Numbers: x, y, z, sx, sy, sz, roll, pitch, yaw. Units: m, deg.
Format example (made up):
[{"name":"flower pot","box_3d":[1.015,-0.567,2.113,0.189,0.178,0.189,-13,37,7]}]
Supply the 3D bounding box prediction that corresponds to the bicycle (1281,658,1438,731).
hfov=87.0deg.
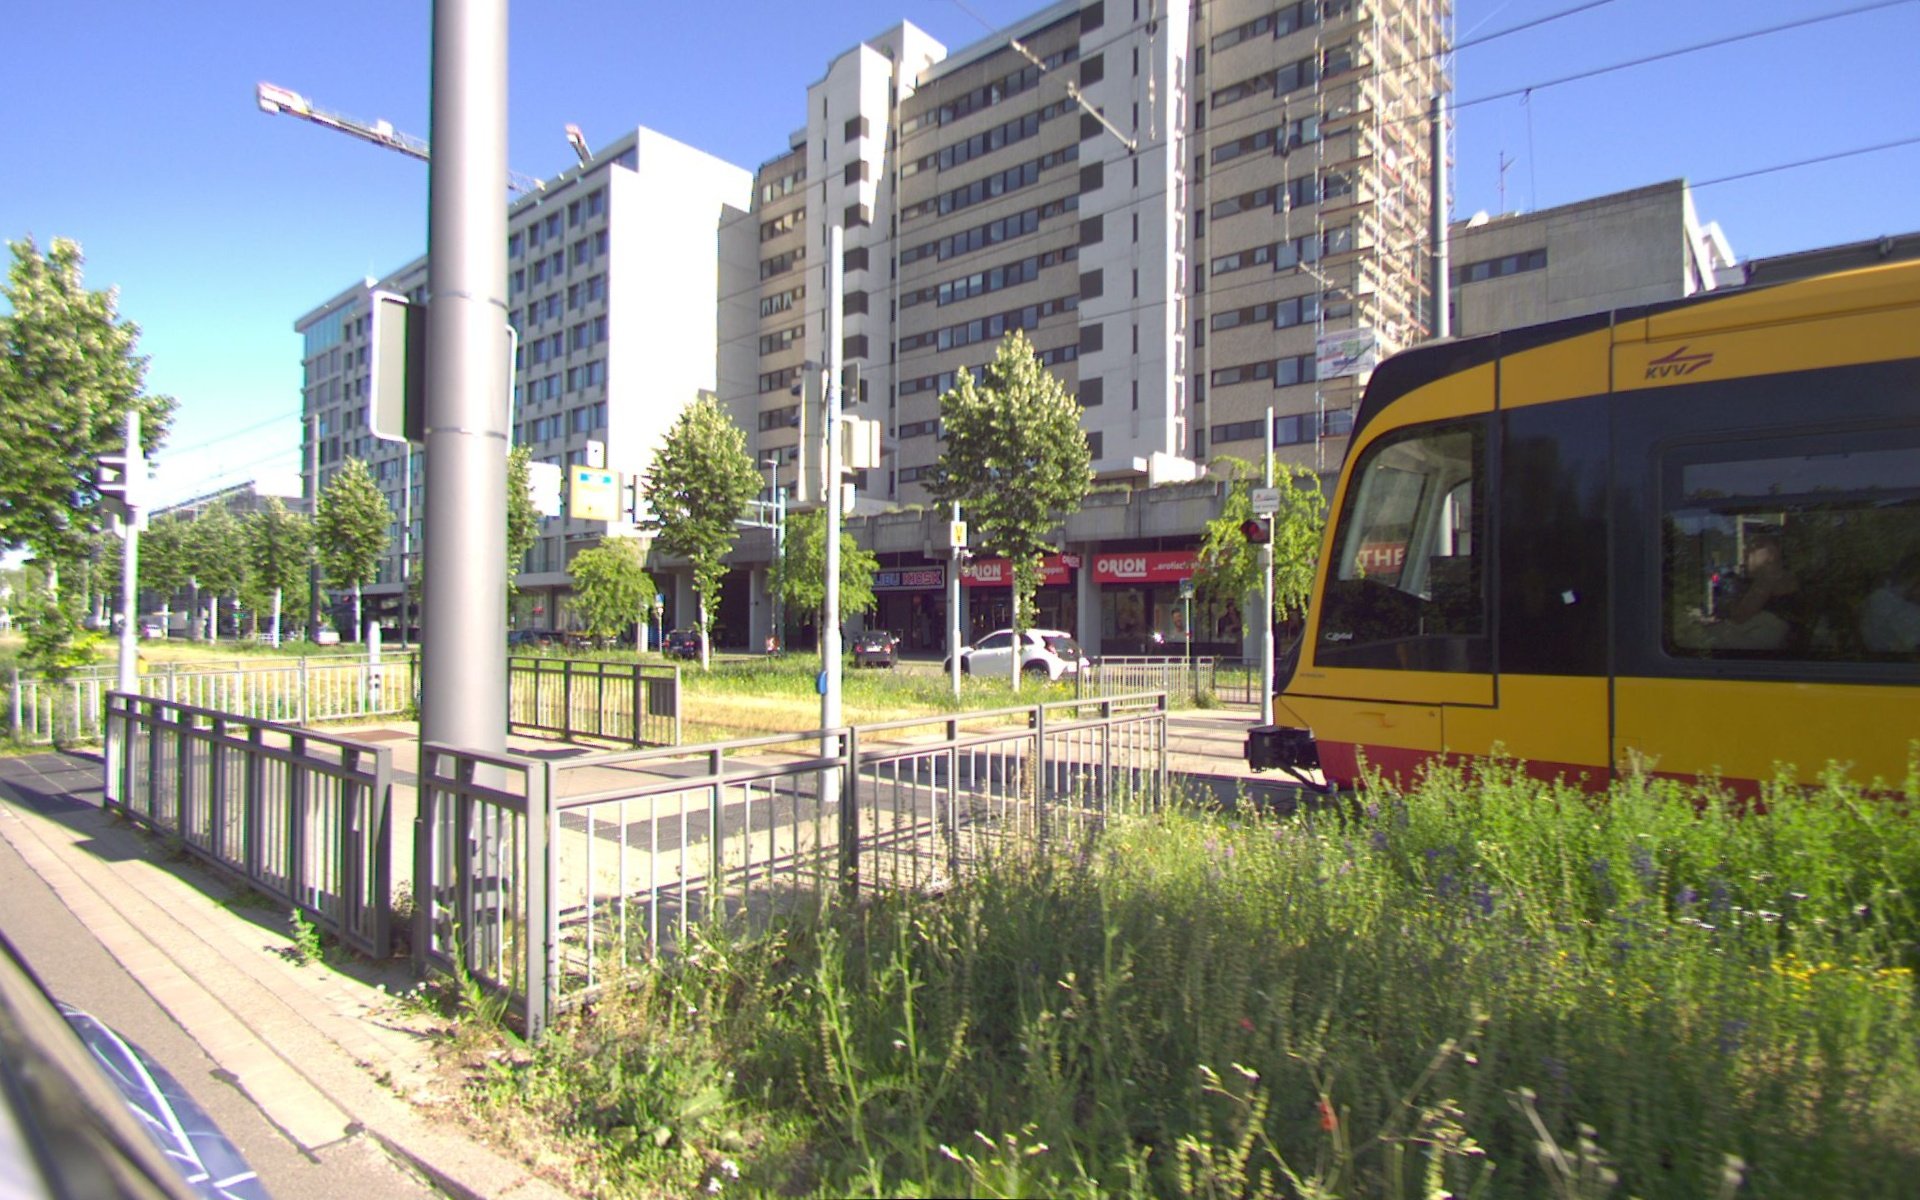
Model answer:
[{"name":"bicycle","box_3d":[5.596,1.312,14.297,1.999,0.958,0.559,-1,-1,17]}]

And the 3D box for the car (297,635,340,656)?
[{"name":"car","box_3d":[-51.213,3.617,80.779,3.770,1.561,1.841,-1,-1,41]}]

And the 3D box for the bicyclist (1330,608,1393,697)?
[{"name":"bicyclist","box_3d":[5.661,0.730,14.297,0.761,1.234,0.577,-1,-1,17]}]

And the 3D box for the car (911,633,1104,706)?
[{"name":"car","box_3d":[1.124,1.640,25.137,4.502,1.590,1.974,-1,-1,39]}]

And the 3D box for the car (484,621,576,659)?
[{"name":"car","box_3d":[-19.308,1.777,45.381,4.502,1.590,1.974,-1,-1,39]}]

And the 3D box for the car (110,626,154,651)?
[{"name":"car","box_3d":[-63.018,2.899,76.992,4.284,1.833,1.972,-1,-1,42]}]

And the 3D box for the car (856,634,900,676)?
[{"name":"car","box_3d":[-3.412,2.216,41.511,1.691,1.531,4.005,0,-1,-6]}]

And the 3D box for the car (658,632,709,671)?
[{"name":"car","box_3d":[-13.312,2.450,48.923,1.768,1.697,4.005,0,-1,-6]}]

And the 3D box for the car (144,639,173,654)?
[{"name":"car","box_3d":[-86.549,4.967,109.241,3.811,1.519,1.804,-1,-1,41]}]

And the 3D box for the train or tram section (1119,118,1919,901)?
[{"name":"train or tram section","box_3d":[7.246,-0.475,3.783,14.140,3.697,1.973,-1,-1,40]}]
